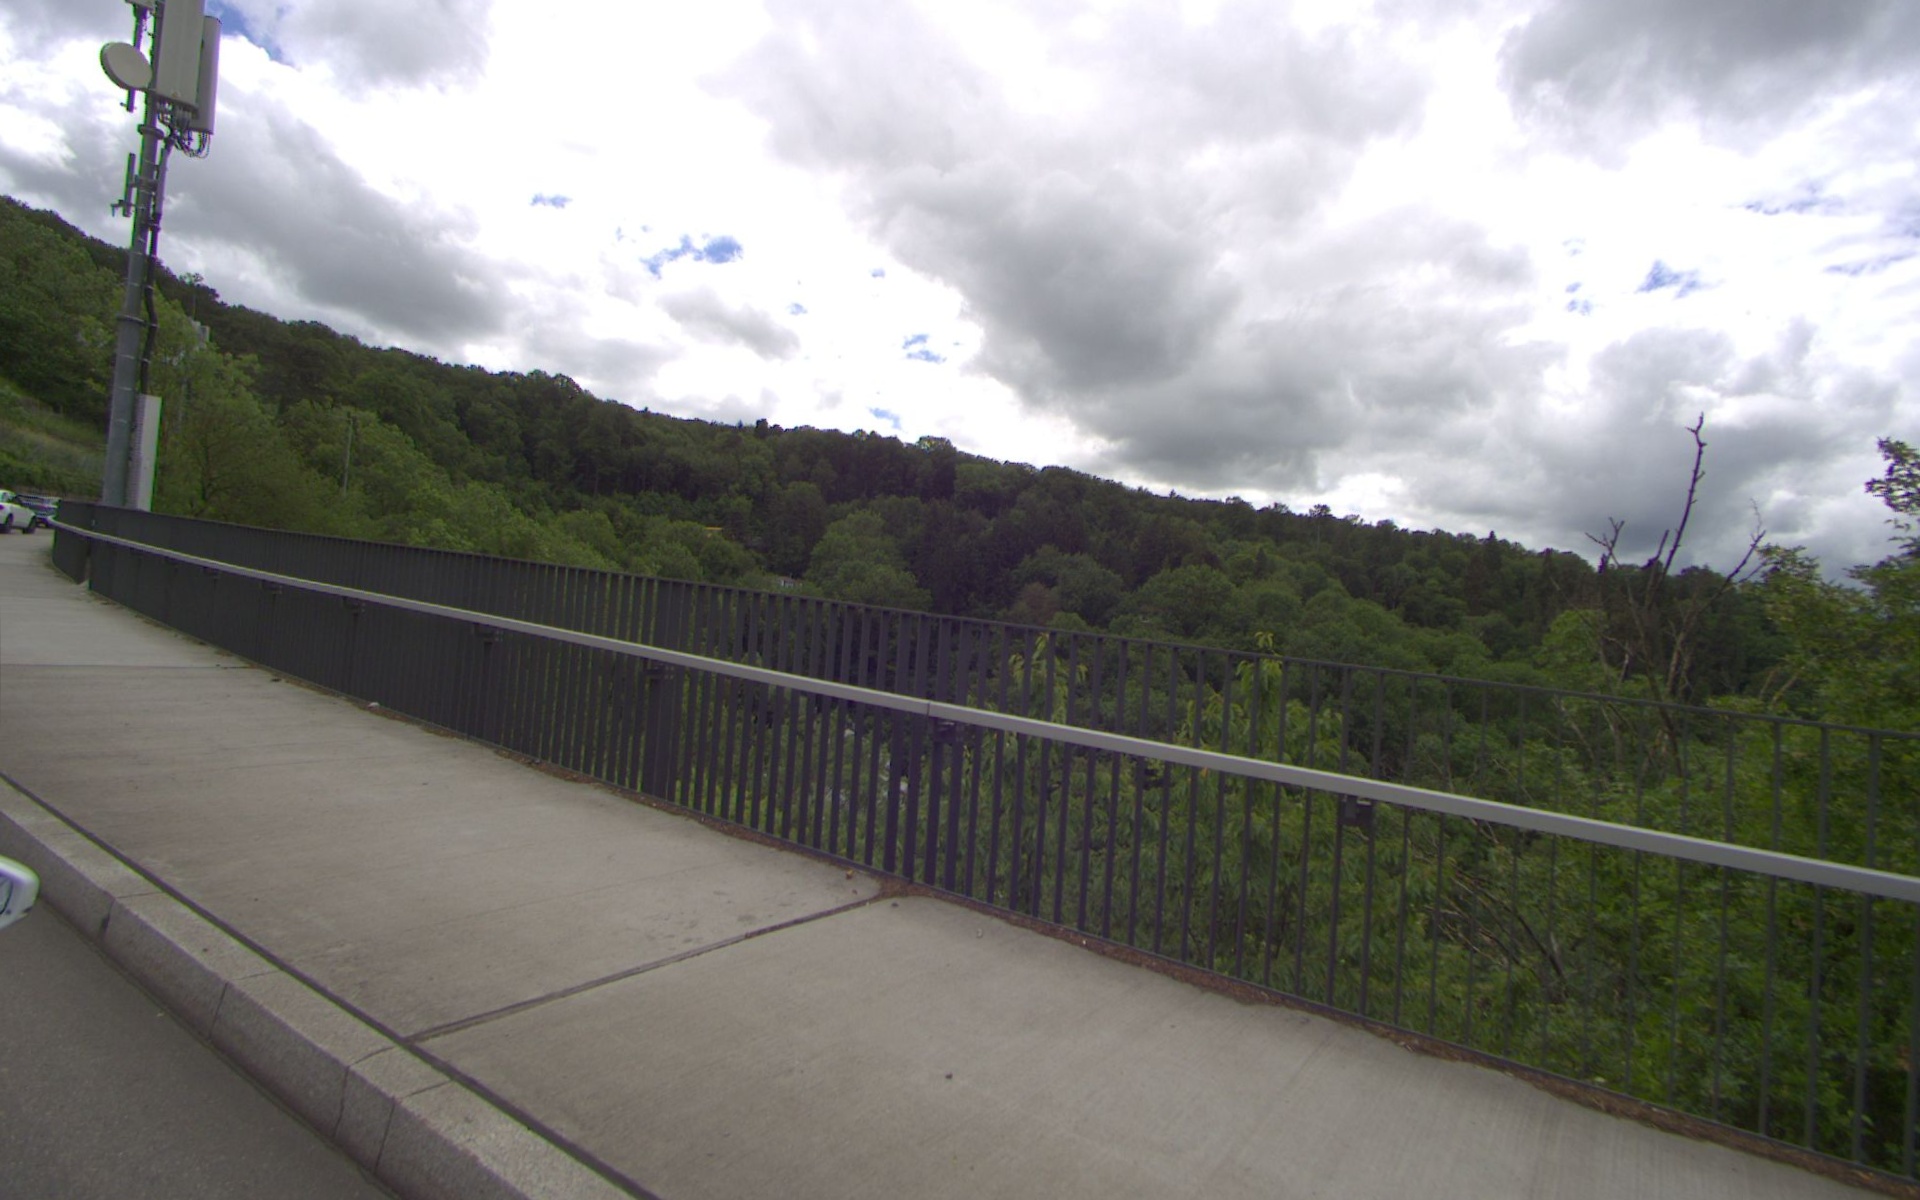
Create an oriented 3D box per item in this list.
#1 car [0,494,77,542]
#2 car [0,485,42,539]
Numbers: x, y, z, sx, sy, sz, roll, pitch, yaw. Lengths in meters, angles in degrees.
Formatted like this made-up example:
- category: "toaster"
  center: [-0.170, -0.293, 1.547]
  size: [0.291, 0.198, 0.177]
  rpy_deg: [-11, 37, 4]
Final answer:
- category: "car"
  center: [-45.350, -3.980, 49.491]
  size: [1.976, 2.039, 3.970]
  rpy_deg: [4, 1, -30]
- category: "car"
  center: [-35.811, -3.295, 37.015]
  size: [1.976, 1.739, 4.087]
  rpy_deg: [5, -2, -28]
